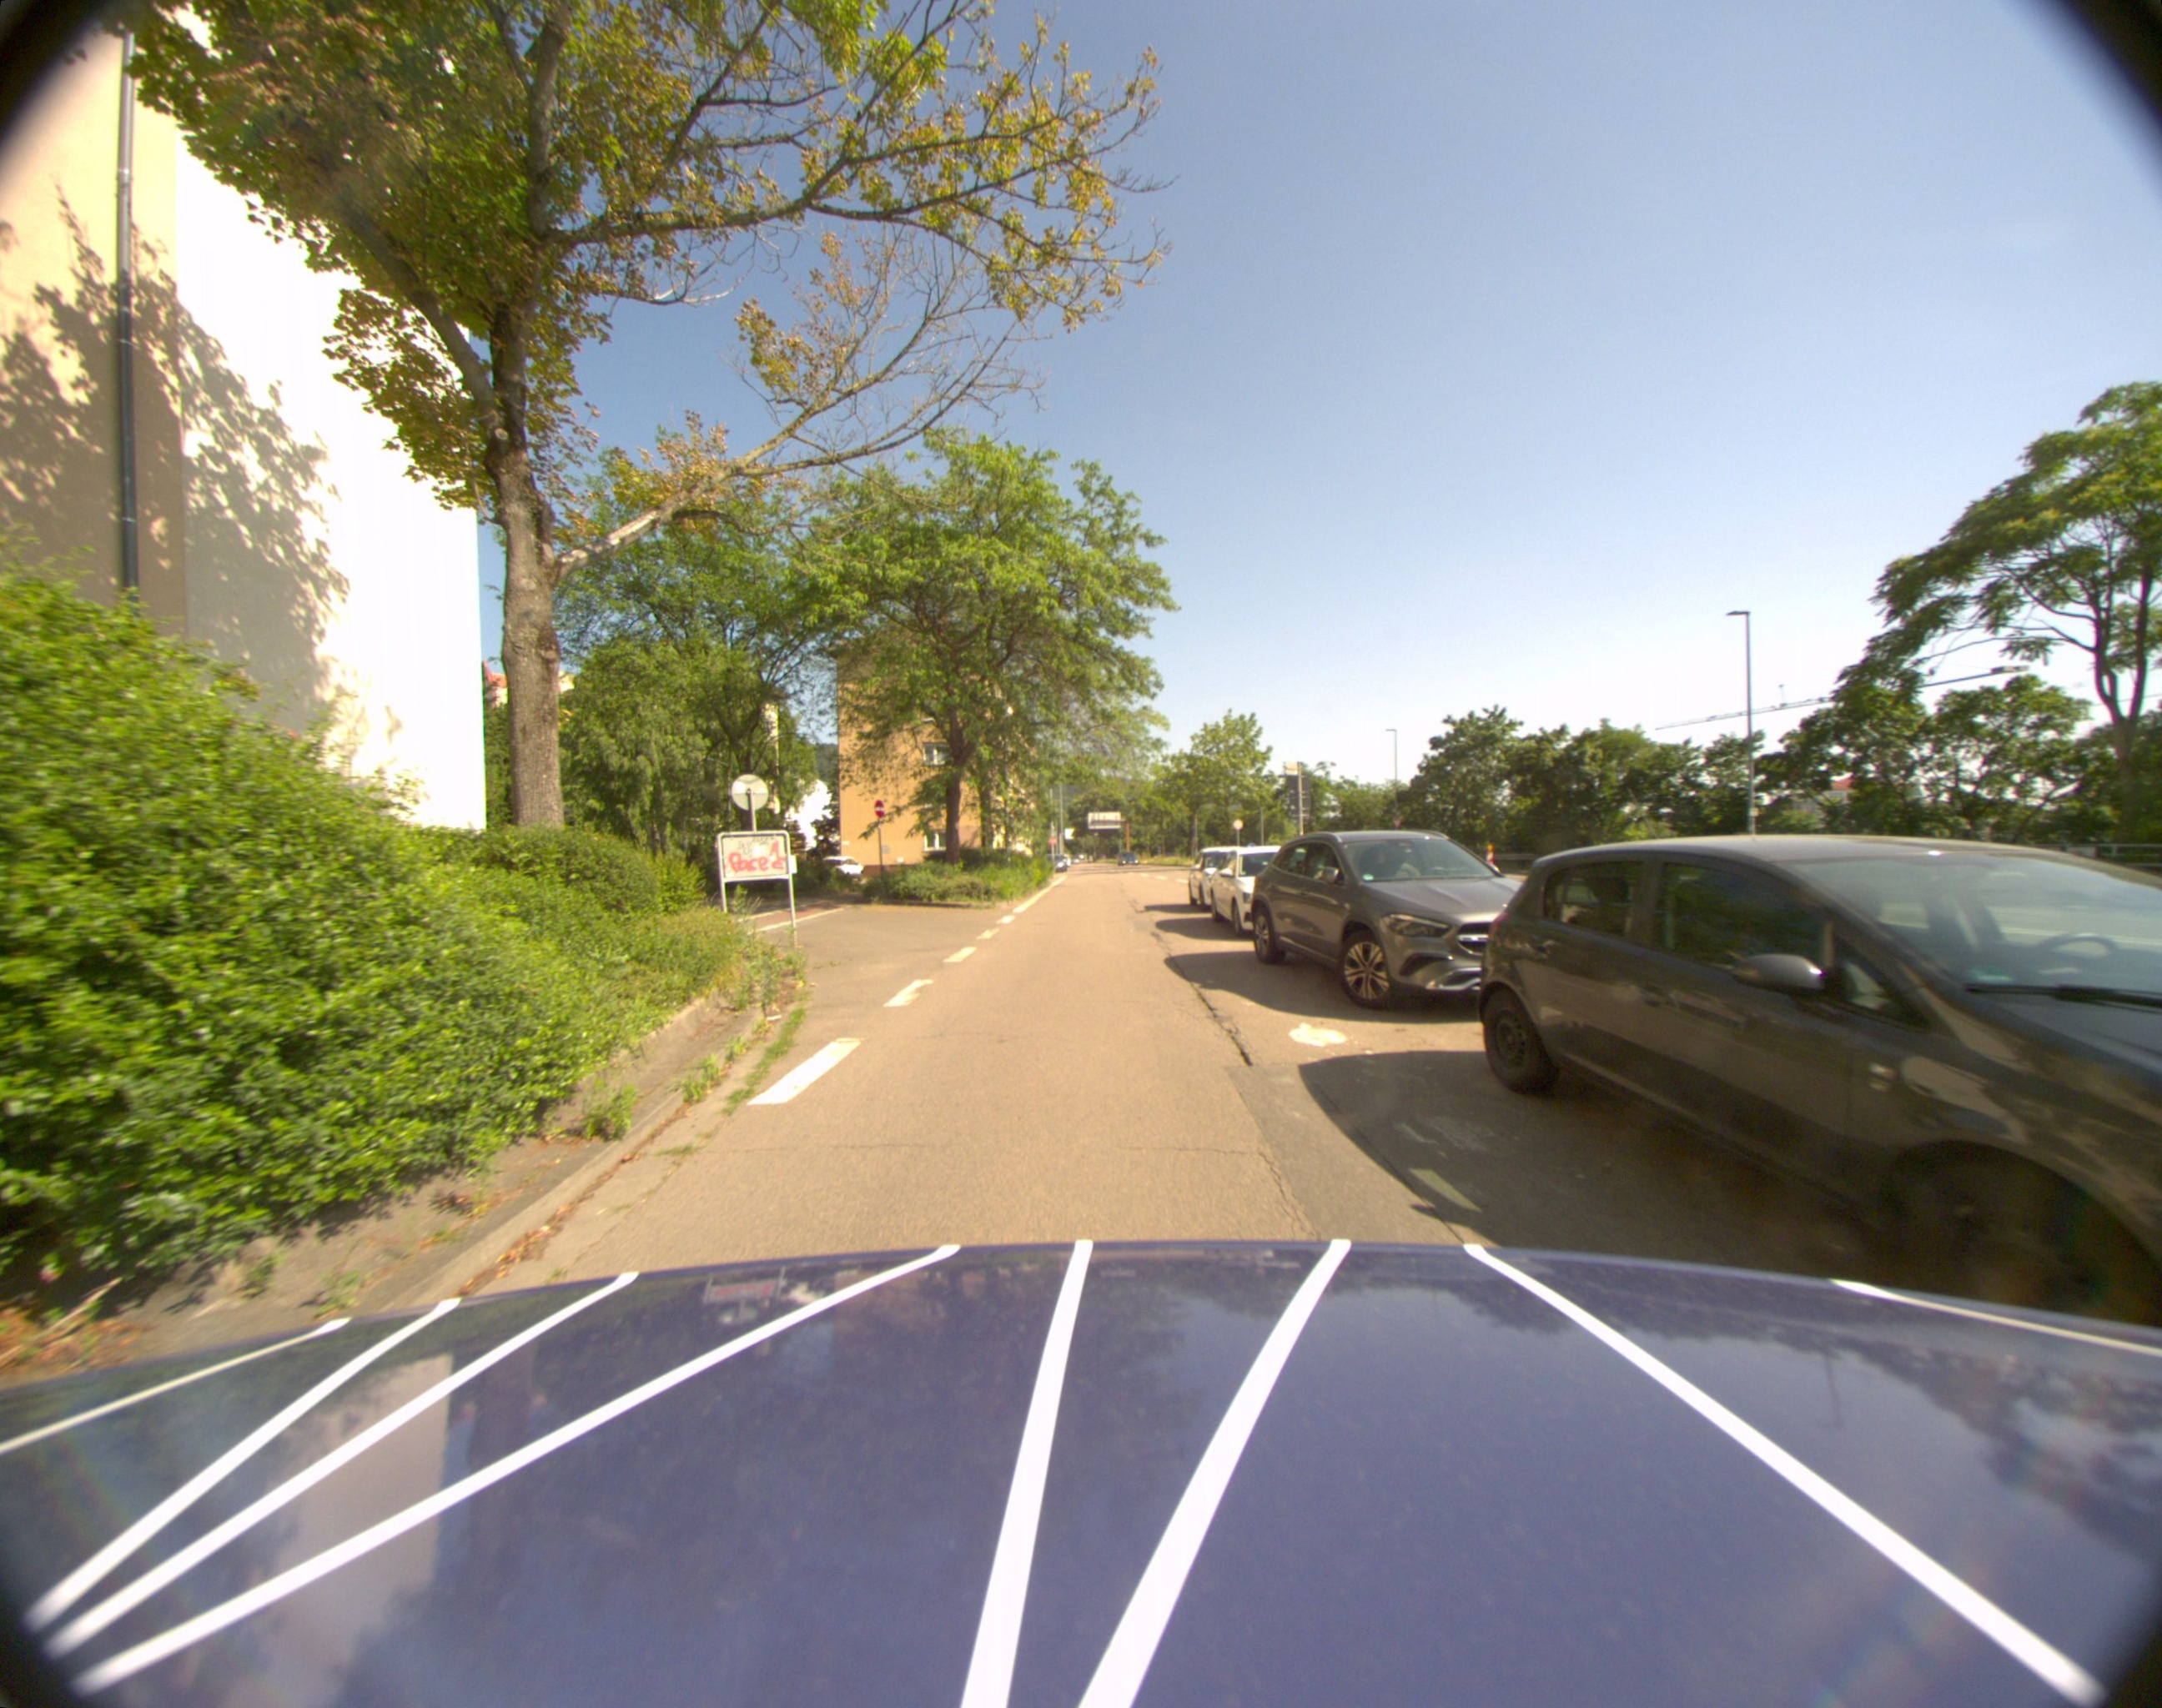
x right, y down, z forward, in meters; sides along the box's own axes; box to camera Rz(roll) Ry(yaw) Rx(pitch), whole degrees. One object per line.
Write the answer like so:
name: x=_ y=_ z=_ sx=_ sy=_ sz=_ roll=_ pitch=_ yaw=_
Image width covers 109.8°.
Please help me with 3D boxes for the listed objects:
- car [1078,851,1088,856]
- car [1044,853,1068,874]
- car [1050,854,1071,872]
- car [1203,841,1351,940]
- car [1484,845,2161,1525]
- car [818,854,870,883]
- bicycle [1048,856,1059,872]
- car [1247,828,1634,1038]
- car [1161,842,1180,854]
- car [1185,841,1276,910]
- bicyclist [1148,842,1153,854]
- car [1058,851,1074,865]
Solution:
car: x=0.494 y=-0.132 z=198.718 sx=1.652 sy=1.408 sz=3.964 roll=-1 pitch=1 yaw=-17
car: x=-1.998 y=0.714 z=59.879 sx=1.708 sy=1.505 sz=4.090 roll=-1 pitch=1 yaw=-3
car: x=-1.778 y=0.749 z=64.809 sx=1.715 sy=1.453 sz=4.255 roll=-1 pitch=0 yaw=-2
car: x=3.373 y=0.549 z=13.847 sx=1.725 sy=1.497 sz=4.132 roll=-1 pitch=1 yaw=2
car: x=3.252 y=0.720 z=2.746 sx=1.667 sy=1.466 sz=3.877 roll=-1 pitch=0 yaw=3
car: x=-14.220 y=0.832 z=45.794 sx=1.659 sy=1.631 sz=3.786 roll=-1 pitch=1 yaw=5
bicycle: x=-2.049 y=0.723 z=55.562 sx=0.704 sy=1.117 sz=1.744 roll=-2 pitch=1 yaw=-5
car: x=3.231 y=0.595 z=7.902 sx=1.777 sy=1.570 sz=4.184 roll=-1 pitch=0 yaw=-5
car: x=13.877 y=-0.983 z=117.802 sx=1.999 sy=1.724 sz=4.727 roll=-1 pitch=1 yaw=-4
car: x=3.591 y=0.478 z=18.736 sx=1.623 sy=1.496 sz=3.461 roll=-2 pitch=0 yaw=2
bicyclist: x=11.428 y=-0.977 z=125.370 sx=0.698 sy=1.821 sz=1.016 roll=-1 pitch=1 yaw=-3
car: x=-1.761 y=0.493 z=88.744 sx=1.761 sy=1.497 sz=4.126 roll=-2 pitch=1 yaw=-2
